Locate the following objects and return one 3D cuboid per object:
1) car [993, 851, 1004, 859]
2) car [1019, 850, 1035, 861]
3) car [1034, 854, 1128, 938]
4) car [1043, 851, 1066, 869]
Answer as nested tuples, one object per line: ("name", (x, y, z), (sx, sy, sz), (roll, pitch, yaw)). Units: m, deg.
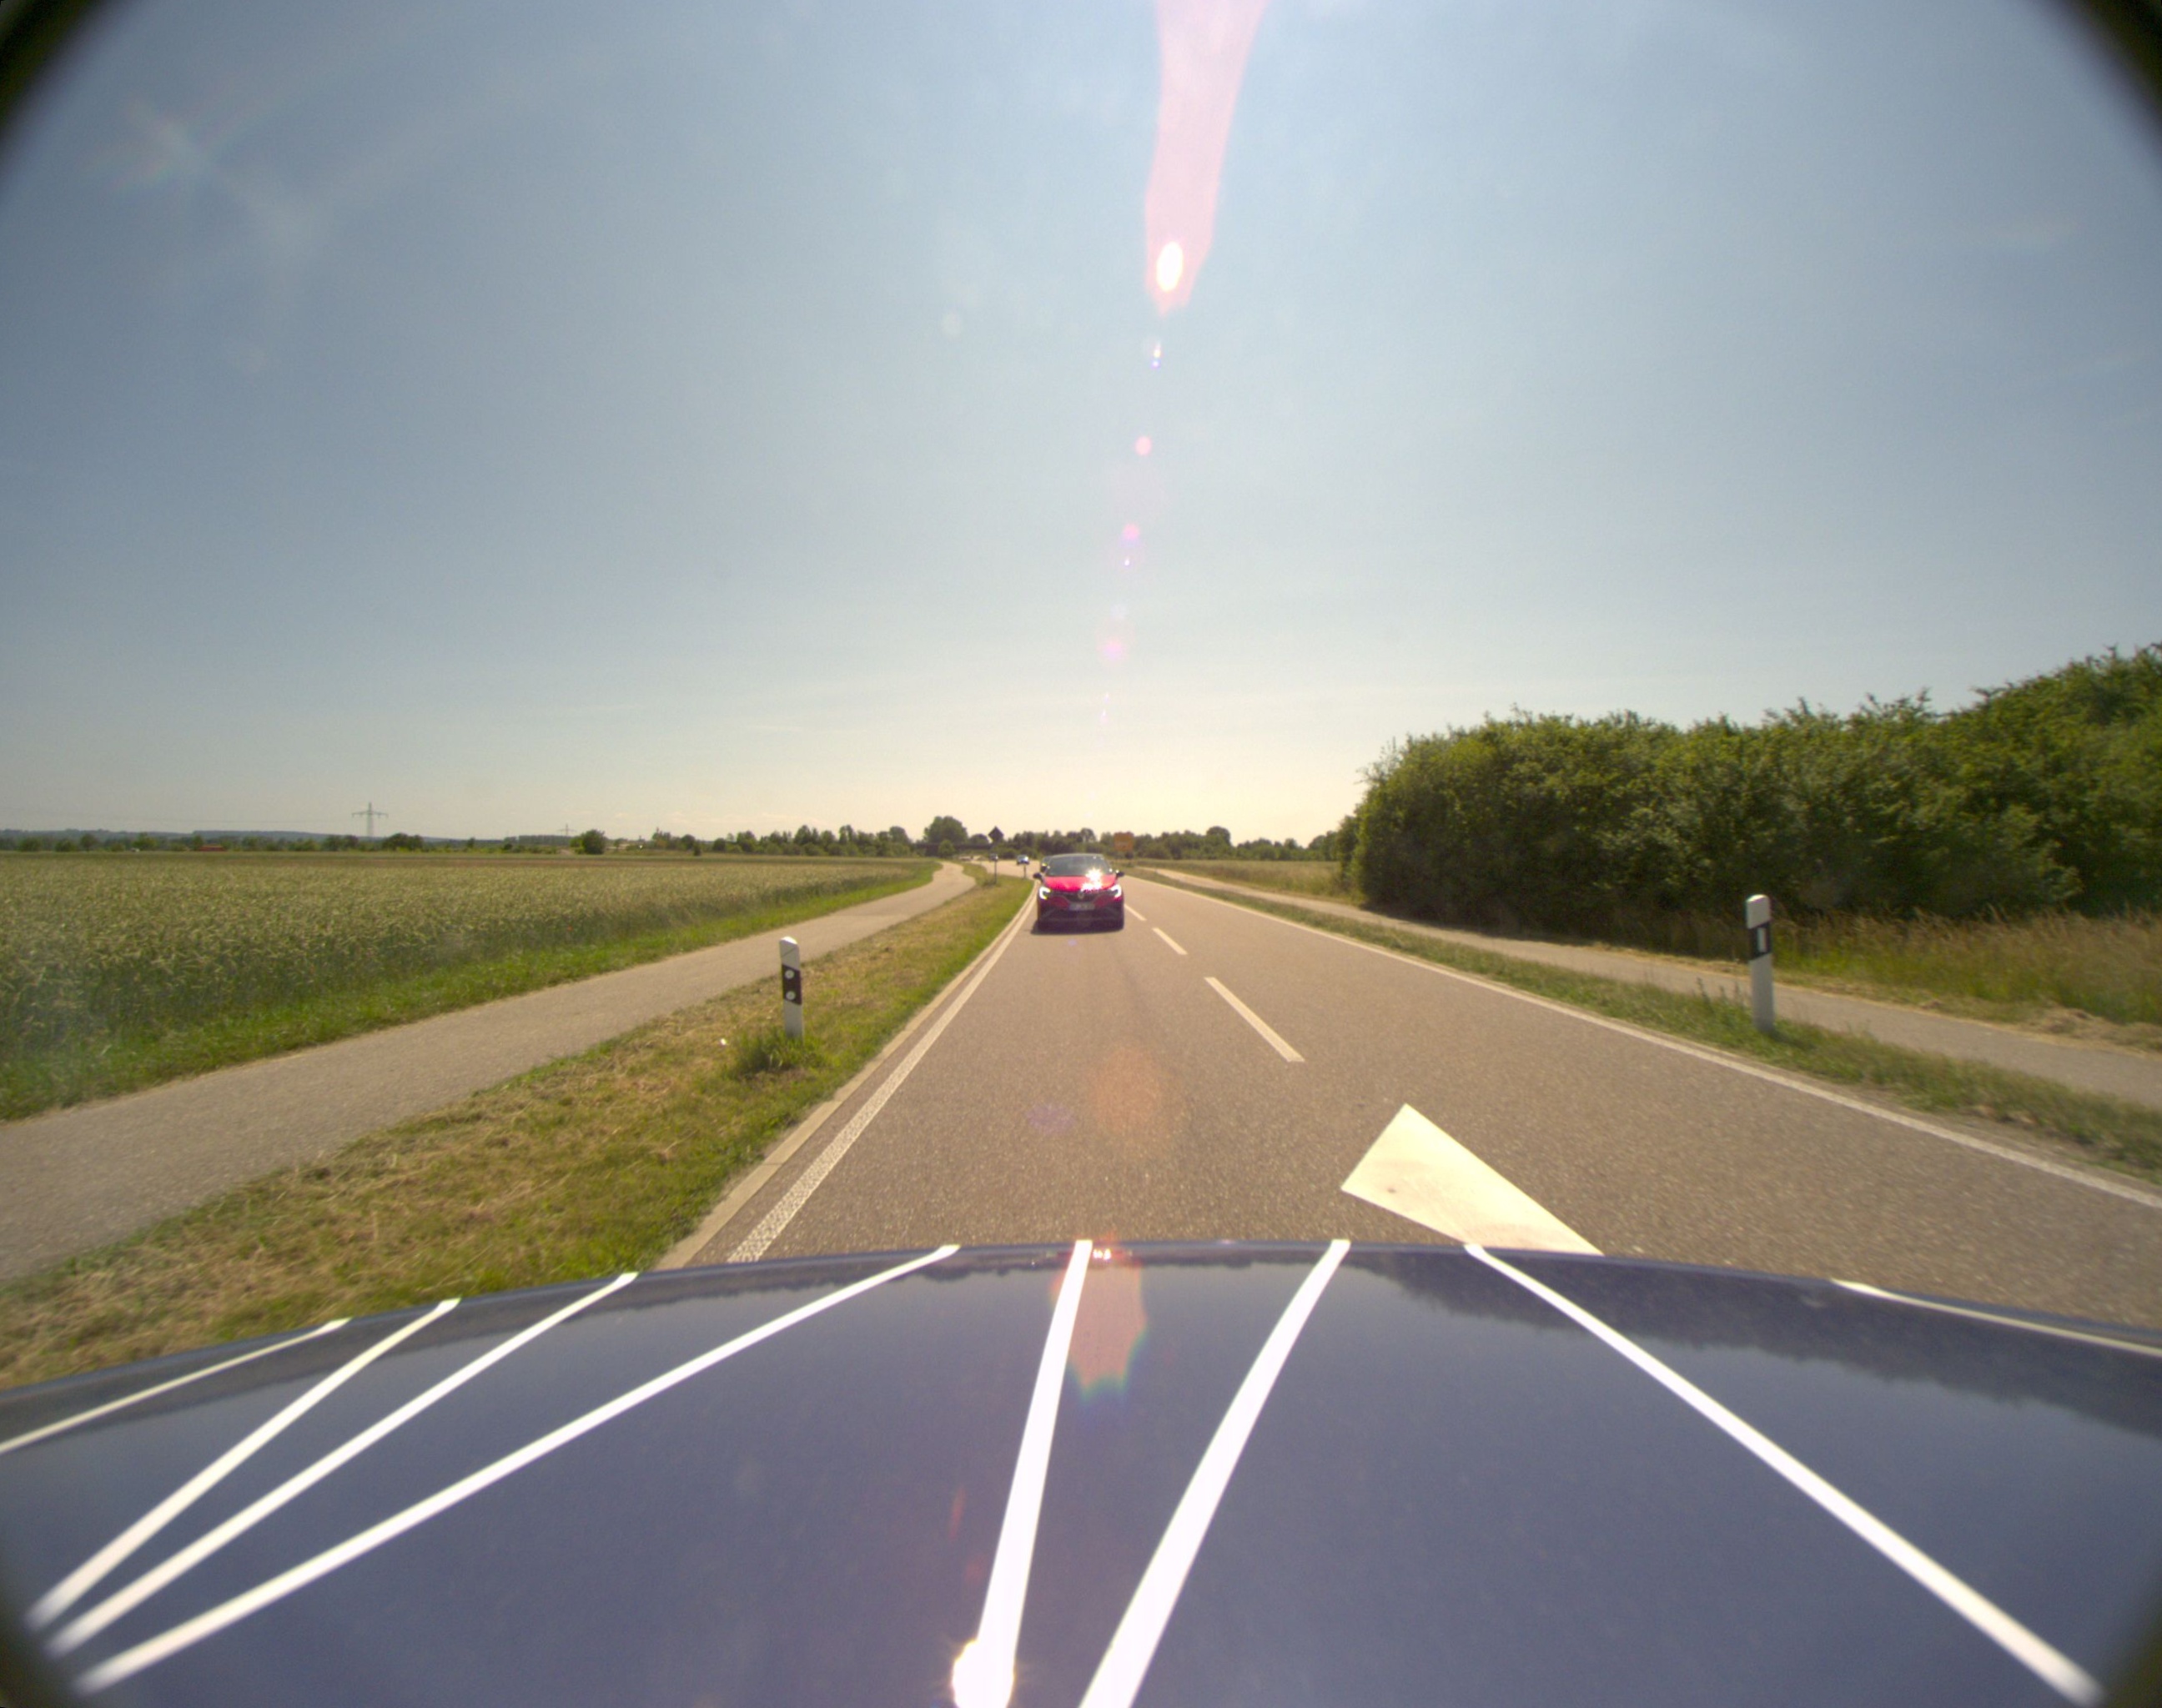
("car", (-18.438, 0.216, 169.418), (1.985, 1.587, 5.396), (-1, 1, -12))
("car", (-8.445, 0.248, 117.908), (1.984, 1.587, 5.397), (-1, 1, -8))
("car", (-0.016, 0.827, 17.378), (1.837, 1.587, 4.721), (-1, 1, 0))
("car", (-2.394, 0.502, 69.164), (1.983, 1.587, 5.400), (-1, 0, -2))
